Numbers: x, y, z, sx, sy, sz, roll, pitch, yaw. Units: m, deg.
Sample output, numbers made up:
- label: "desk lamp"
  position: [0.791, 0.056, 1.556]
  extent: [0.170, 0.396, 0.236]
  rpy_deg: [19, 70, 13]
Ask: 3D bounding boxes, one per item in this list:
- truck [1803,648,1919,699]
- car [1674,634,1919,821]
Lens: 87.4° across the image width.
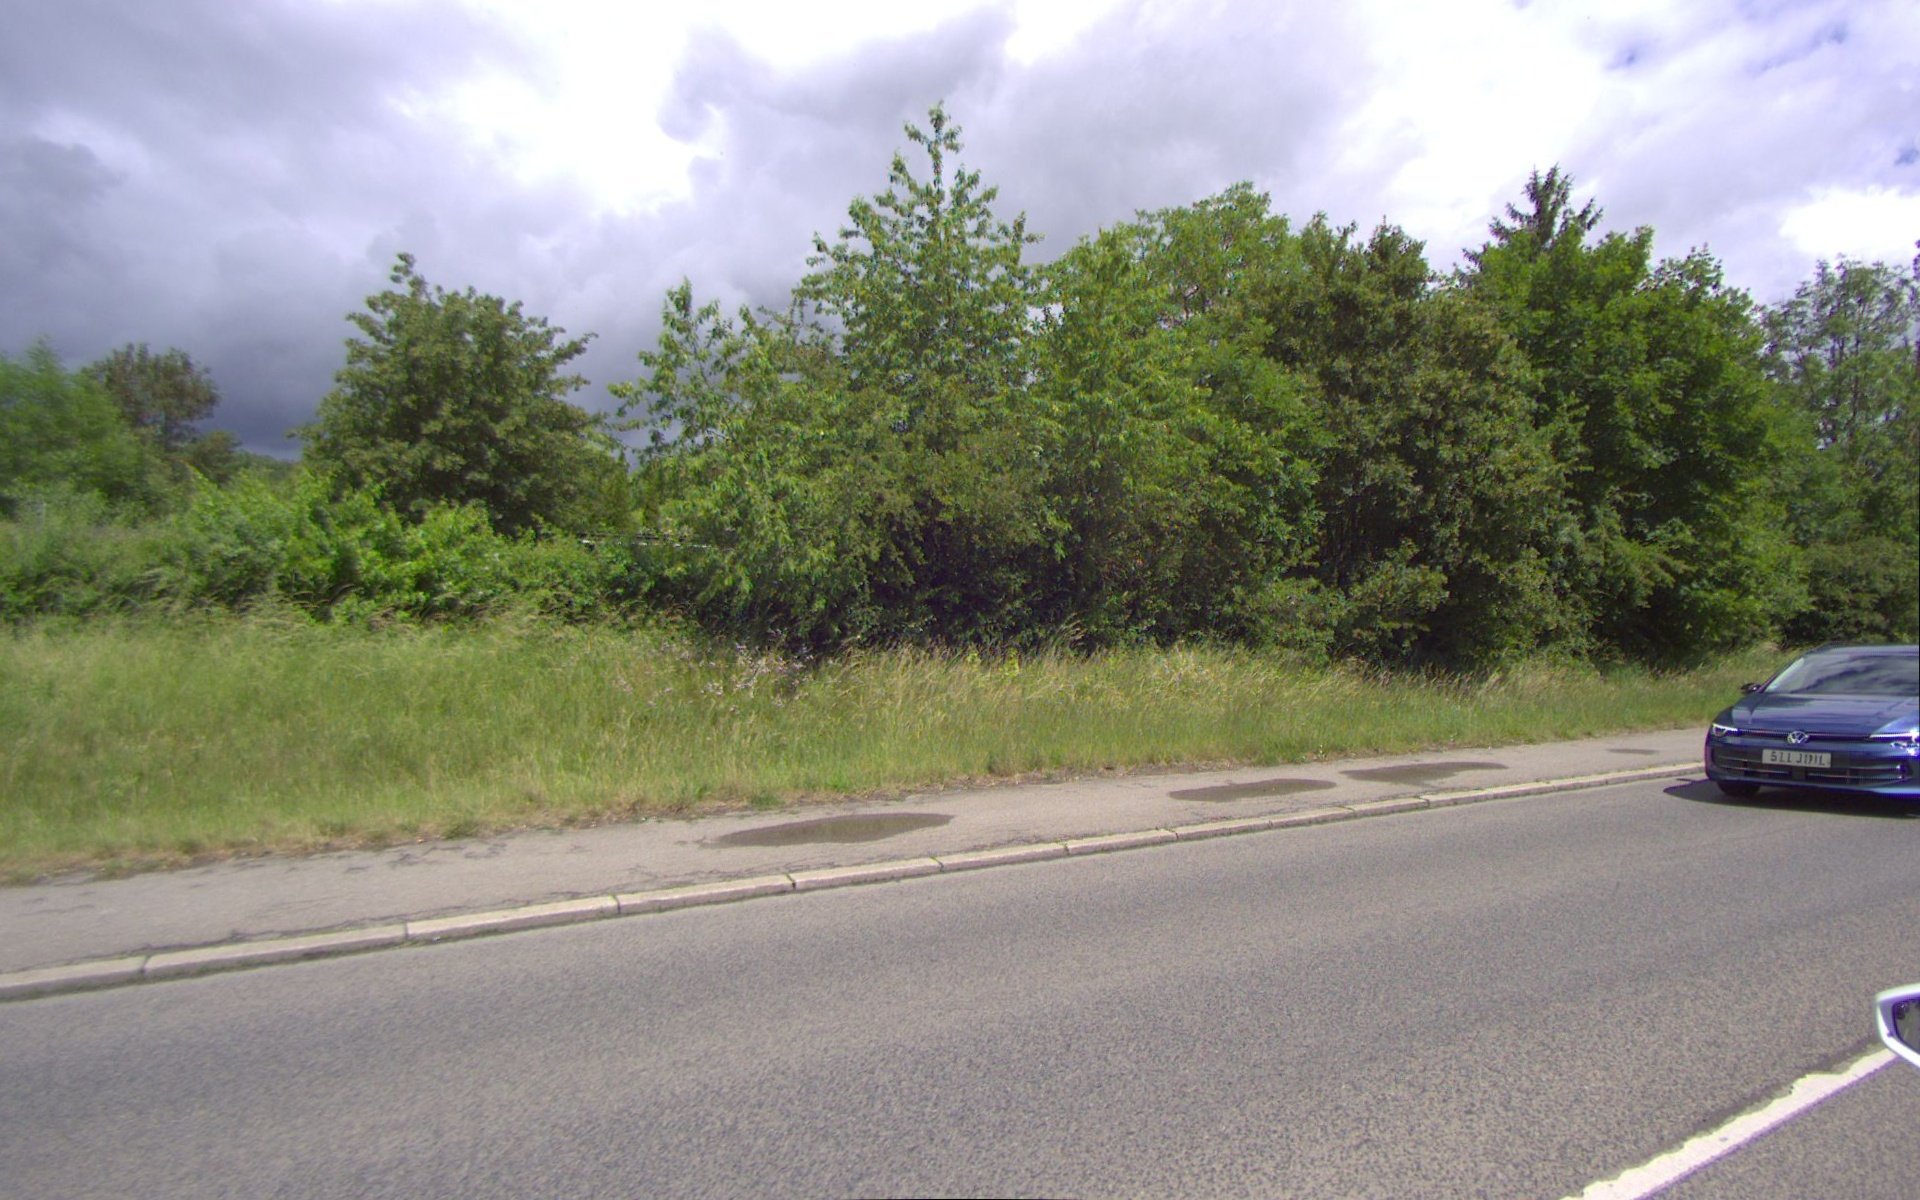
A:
- label: "truck"
  position: [49.907, 3.962, 54.457]
  extent: [1.970, 2.643, 6.196]
  rpy_deg: [1, -3, -20]
- label: "car"
  position: [9.000, 1.086, 9.748]
  extent: [4.402, 1.465, 1.775]
  rpy_deg: [1, -3, -32]
